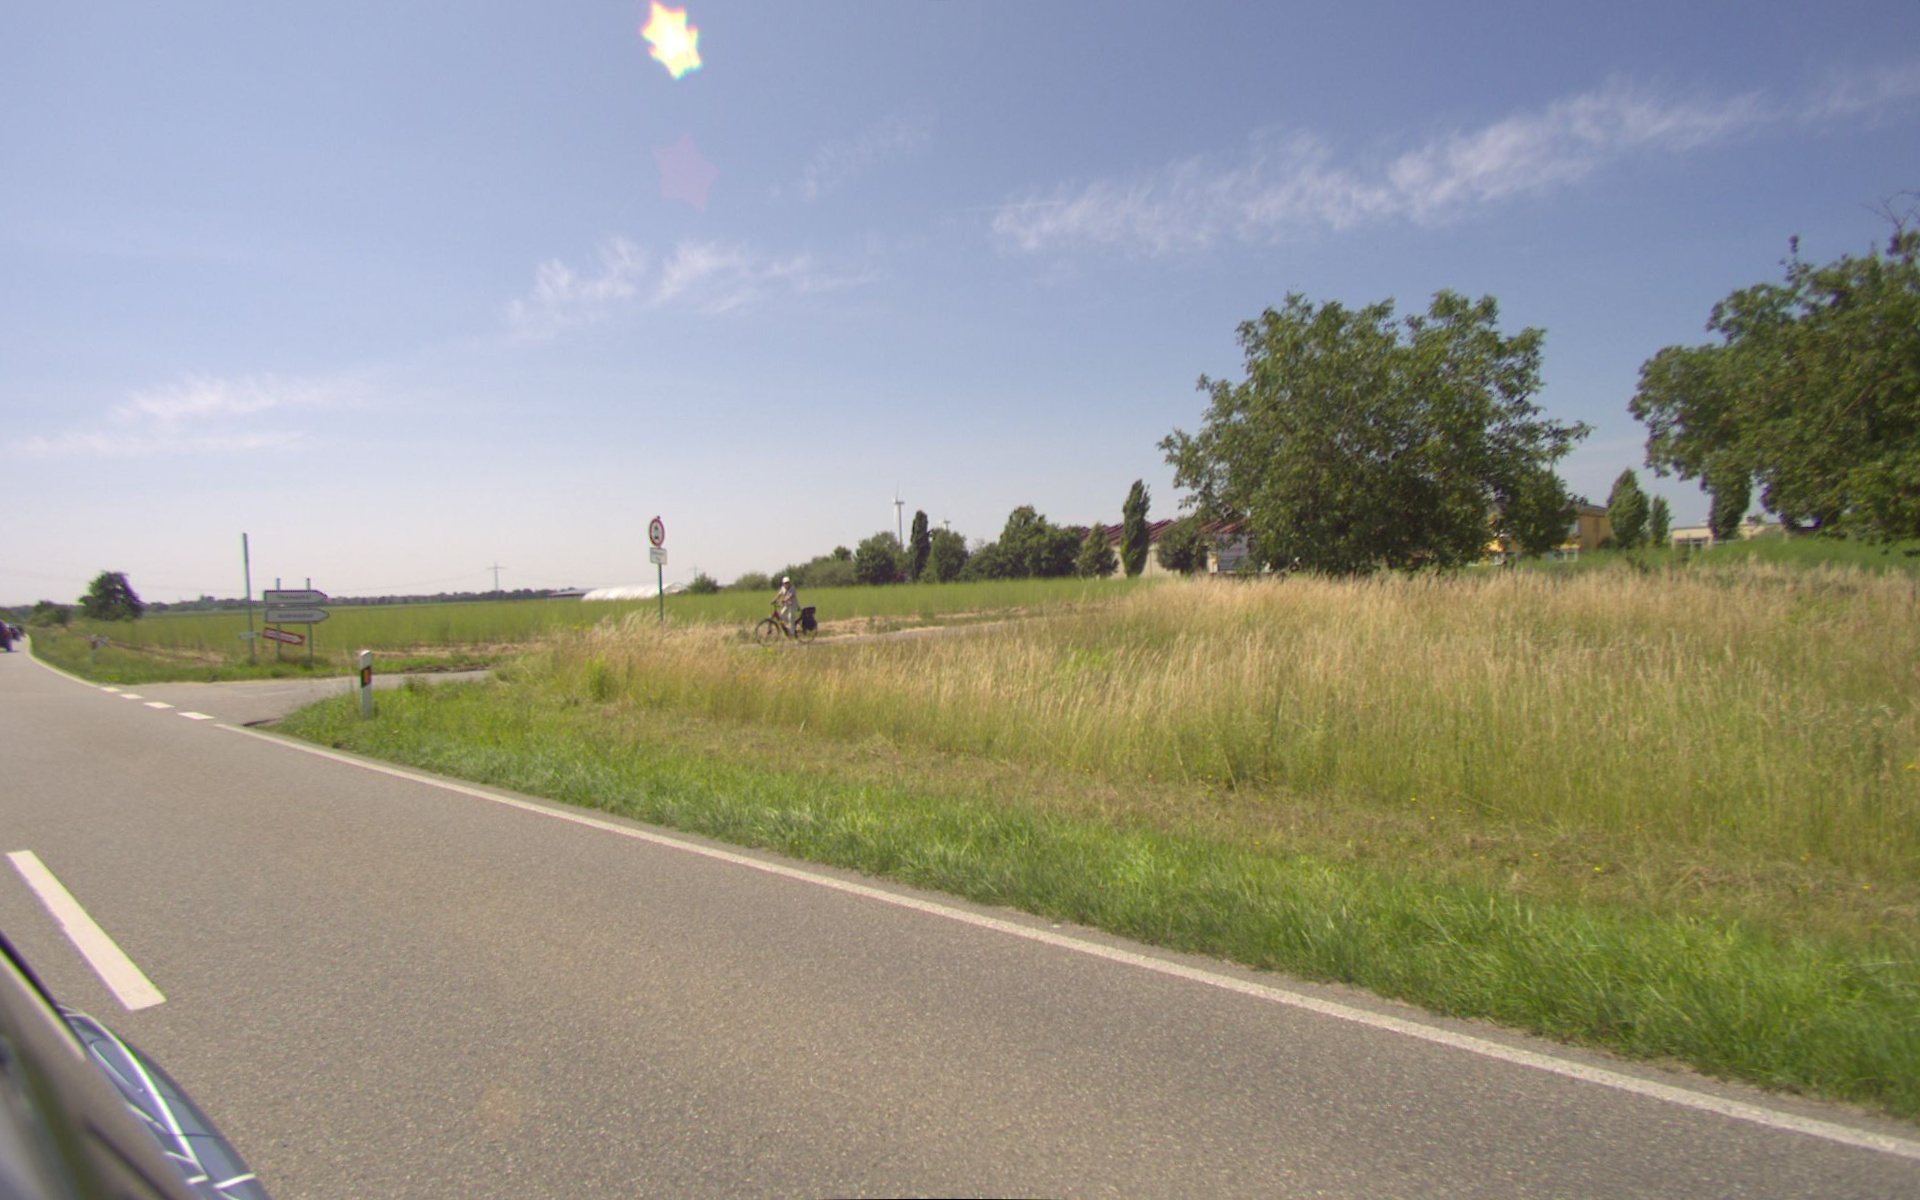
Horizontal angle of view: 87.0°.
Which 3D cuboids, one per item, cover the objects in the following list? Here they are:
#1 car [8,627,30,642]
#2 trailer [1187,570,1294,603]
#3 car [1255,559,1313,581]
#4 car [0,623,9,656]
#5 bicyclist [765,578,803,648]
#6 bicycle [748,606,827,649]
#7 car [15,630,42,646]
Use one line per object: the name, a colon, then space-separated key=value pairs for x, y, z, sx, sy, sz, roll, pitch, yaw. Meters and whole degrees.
car: x=-102.259 y=3.758 z=109.957 sx=1.719 sy=1.544 sz=4.145 roll=-1 pitch=0 yaw=-43
trailer: x=11.026 y=-0.533 z=39.750 sx=3.934 sy=1.148 sz=2.005 roll=-2 pitch=1 yaw=-35
car: x=33.373 y=-3.108 z=104.487 sx=1.843 sy=2.076 sz=5.511 roll=-4 pitch=2 yaw=-41
car: x=-53.406 y=2.179 z=55.458 sx=1.910 sy=1.765 sz=5.208 roll=0 pitch=-1 yaw=-43
bicyclist: x=-4.632 y=0.340 z=26.591 sx=0.690 sy=1.770 sz=0.664 roll=-3 pitch=2 yaw=-36
bicycle: x=-4.532 y=0.717 z=26.668 sx=1.893 sy=0.999 sz=0.684 roll=-4 pitch=2 yaw=-36
car: x=-83.173 y=3.385 z=90.358 sx=1.721 sy=1.367 sz=4.422 roll=-1 pitch=0 yaw=-43
